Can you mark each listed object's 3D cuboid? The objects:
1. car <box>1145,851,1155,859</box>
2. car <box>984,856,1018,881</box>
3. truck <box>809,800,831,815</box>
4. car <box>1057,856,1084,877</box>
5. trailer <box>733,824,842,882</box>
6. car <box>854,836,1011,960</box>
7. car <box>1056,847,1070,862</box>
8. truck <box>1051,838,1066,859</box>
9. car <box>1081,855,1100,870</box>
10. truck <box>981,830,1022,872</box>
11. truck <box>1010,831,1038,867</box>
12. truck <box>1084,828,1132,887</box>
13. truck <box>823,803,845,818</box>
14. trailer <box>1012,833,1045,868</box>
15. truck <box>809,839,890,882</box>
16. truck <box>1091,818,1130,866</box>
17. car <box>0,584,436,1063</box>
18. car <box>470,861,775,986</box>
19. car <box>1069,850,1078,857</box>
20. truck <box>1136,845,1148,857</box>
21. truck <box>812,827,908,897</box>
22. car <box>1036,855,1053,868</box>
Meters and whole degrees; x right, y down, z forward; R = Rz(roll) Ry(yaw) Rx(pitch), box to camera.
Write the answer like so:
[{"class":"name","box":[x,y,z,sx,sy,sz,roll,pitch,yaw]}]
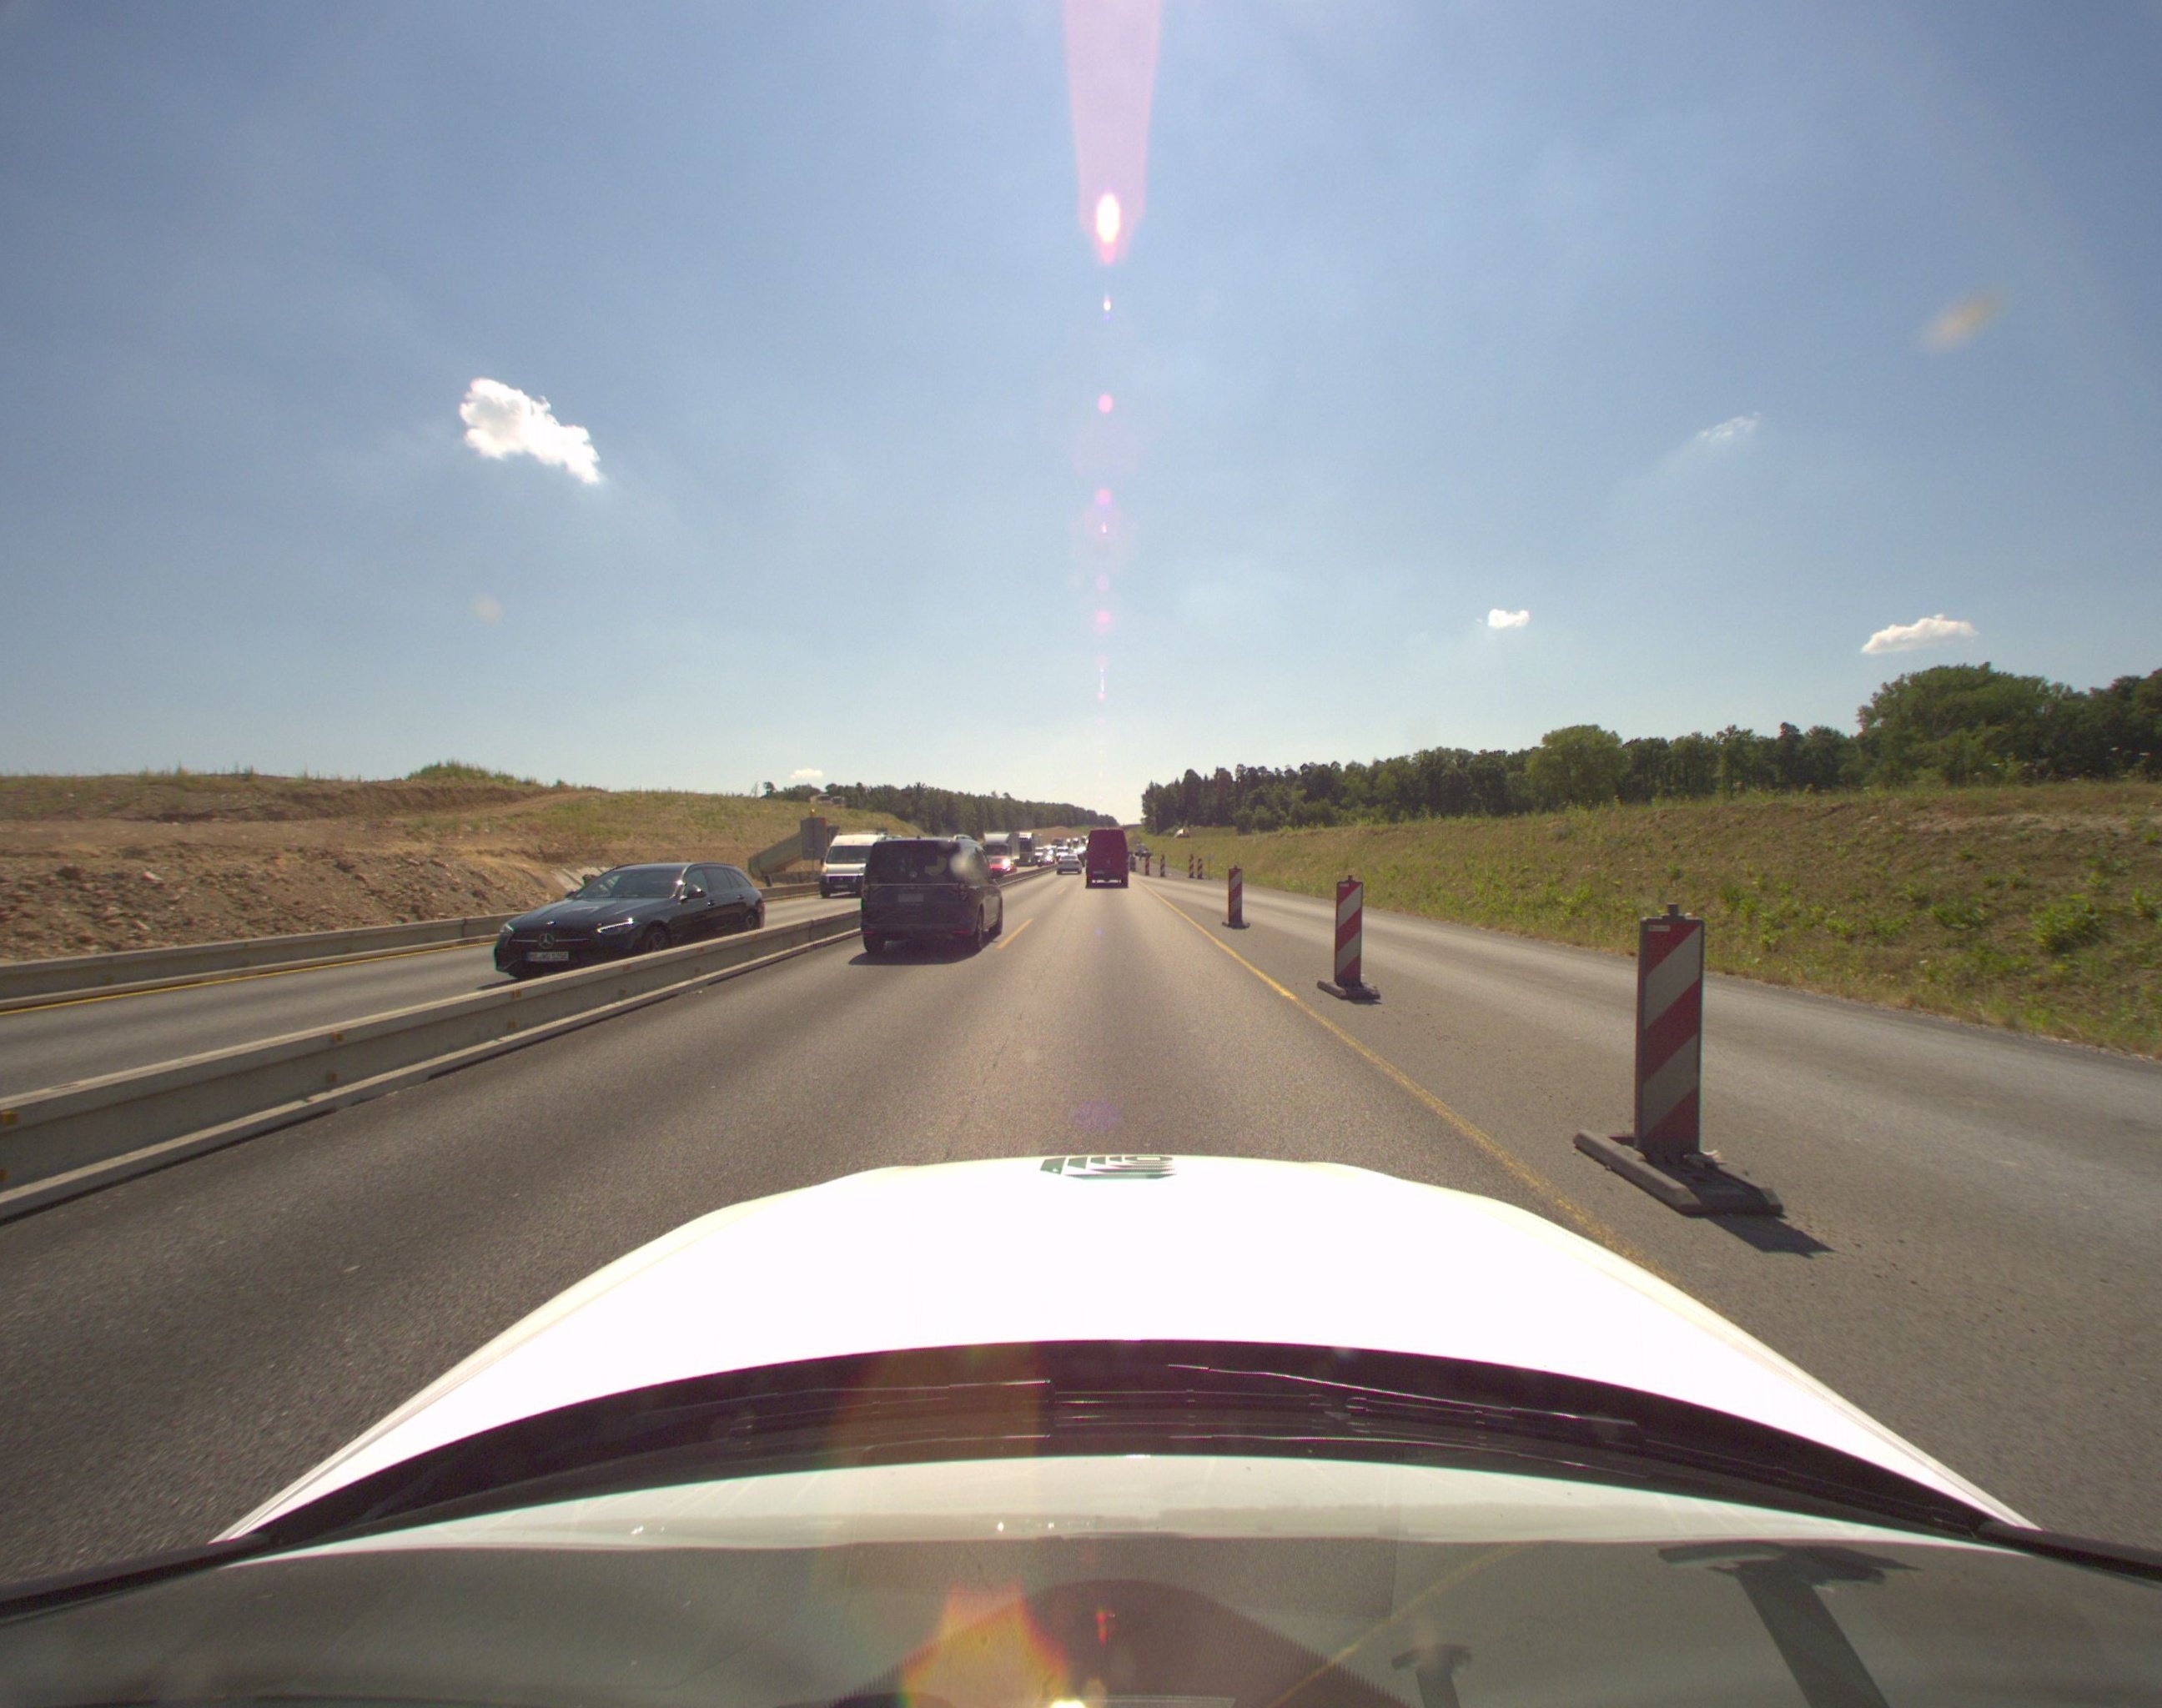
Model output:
[{"class":"car","box":[13.401,0.153,157.336,1.647,1.426,4.548,-3,1,2]},{"class":"car","box":[-5.018,0.905,51.256,1.621,1.484,4.055,0,0,2]},{"class":"truck","box":[-58.120,-10.284,181.109,2.371,2.898,8.279,0,-1,-34]},{"class":"car","box":[-0.768,0.905,61.578,1.824,1.522,3.962,0,0,2]},{"class":"trailer","box":[-21.801,-0.019,60.290,8.263,4.098,2.817,-1,-1,29]},{"class":"car","box":[-2.392,0.624,14.352,1.745,1.824,4.784,0,1,2]},{"class":"car","box":[-2.796,0.120,128.198,1.986,2.292,5.344,0,0,1]},{"class":"truck","box":[-4.777,-1.197,171.213,2.480,4.198,5.918,-2,0,4]},{"class":"car","box":[1.024,0.889,87.436,1.959,1.541,4.313,0,1,2]},{"class":"truck","box":[-7.432,-0.267,77.055,2.635,3.716,9.485,0,0,2]},{"class":"truck","box":[-6.768,-0.578,97.422,2.838,4.018,4.860,-2,-1,1]},{"class":"truck","box":[1.243,0.180,38.808,2.145,2.590,5.334,0,0,1]},{"class":"truck","box":[-57.420,-10.062,189.010,2.311,2.749,8.812,0,-1,-34]},{"class":"trailer","box":[-6.628,-0.357,104.602,2.844,4.093,13.656,-2,0,2]},{"class":"truck","box":[-16.761,0.499,59.086,5.082,2.964,2.559,0,-1,-35]},{"class":"truck","box":[3.636,-1.292,101.165,4.384,5.496,16.609,0,0,2]},{"class":"car","box":[-9.883,-0.235,6.457,2.897,3.740,8.094,0,0,2]},{"class":"car","box":[-6.334,0.844,12.003,1.781,1.482,4.563,0,0,2]},{"class":"car","box":[-1.604,-0.116,177.914,1.682,1.613,4.594,0,0,1]},{"class":"truck","box":[13.063,-0.660,175.467,2.117,2.457,5.940,0,1,9]},{"class":"truck","box":[-8.864,0.232,33.334,2.091,2.569,6.356,0,1,1]},{"class":"car","box":[-4.114,0.827,92.406,1.852,1.442,4.499,0,0,-1]}]
